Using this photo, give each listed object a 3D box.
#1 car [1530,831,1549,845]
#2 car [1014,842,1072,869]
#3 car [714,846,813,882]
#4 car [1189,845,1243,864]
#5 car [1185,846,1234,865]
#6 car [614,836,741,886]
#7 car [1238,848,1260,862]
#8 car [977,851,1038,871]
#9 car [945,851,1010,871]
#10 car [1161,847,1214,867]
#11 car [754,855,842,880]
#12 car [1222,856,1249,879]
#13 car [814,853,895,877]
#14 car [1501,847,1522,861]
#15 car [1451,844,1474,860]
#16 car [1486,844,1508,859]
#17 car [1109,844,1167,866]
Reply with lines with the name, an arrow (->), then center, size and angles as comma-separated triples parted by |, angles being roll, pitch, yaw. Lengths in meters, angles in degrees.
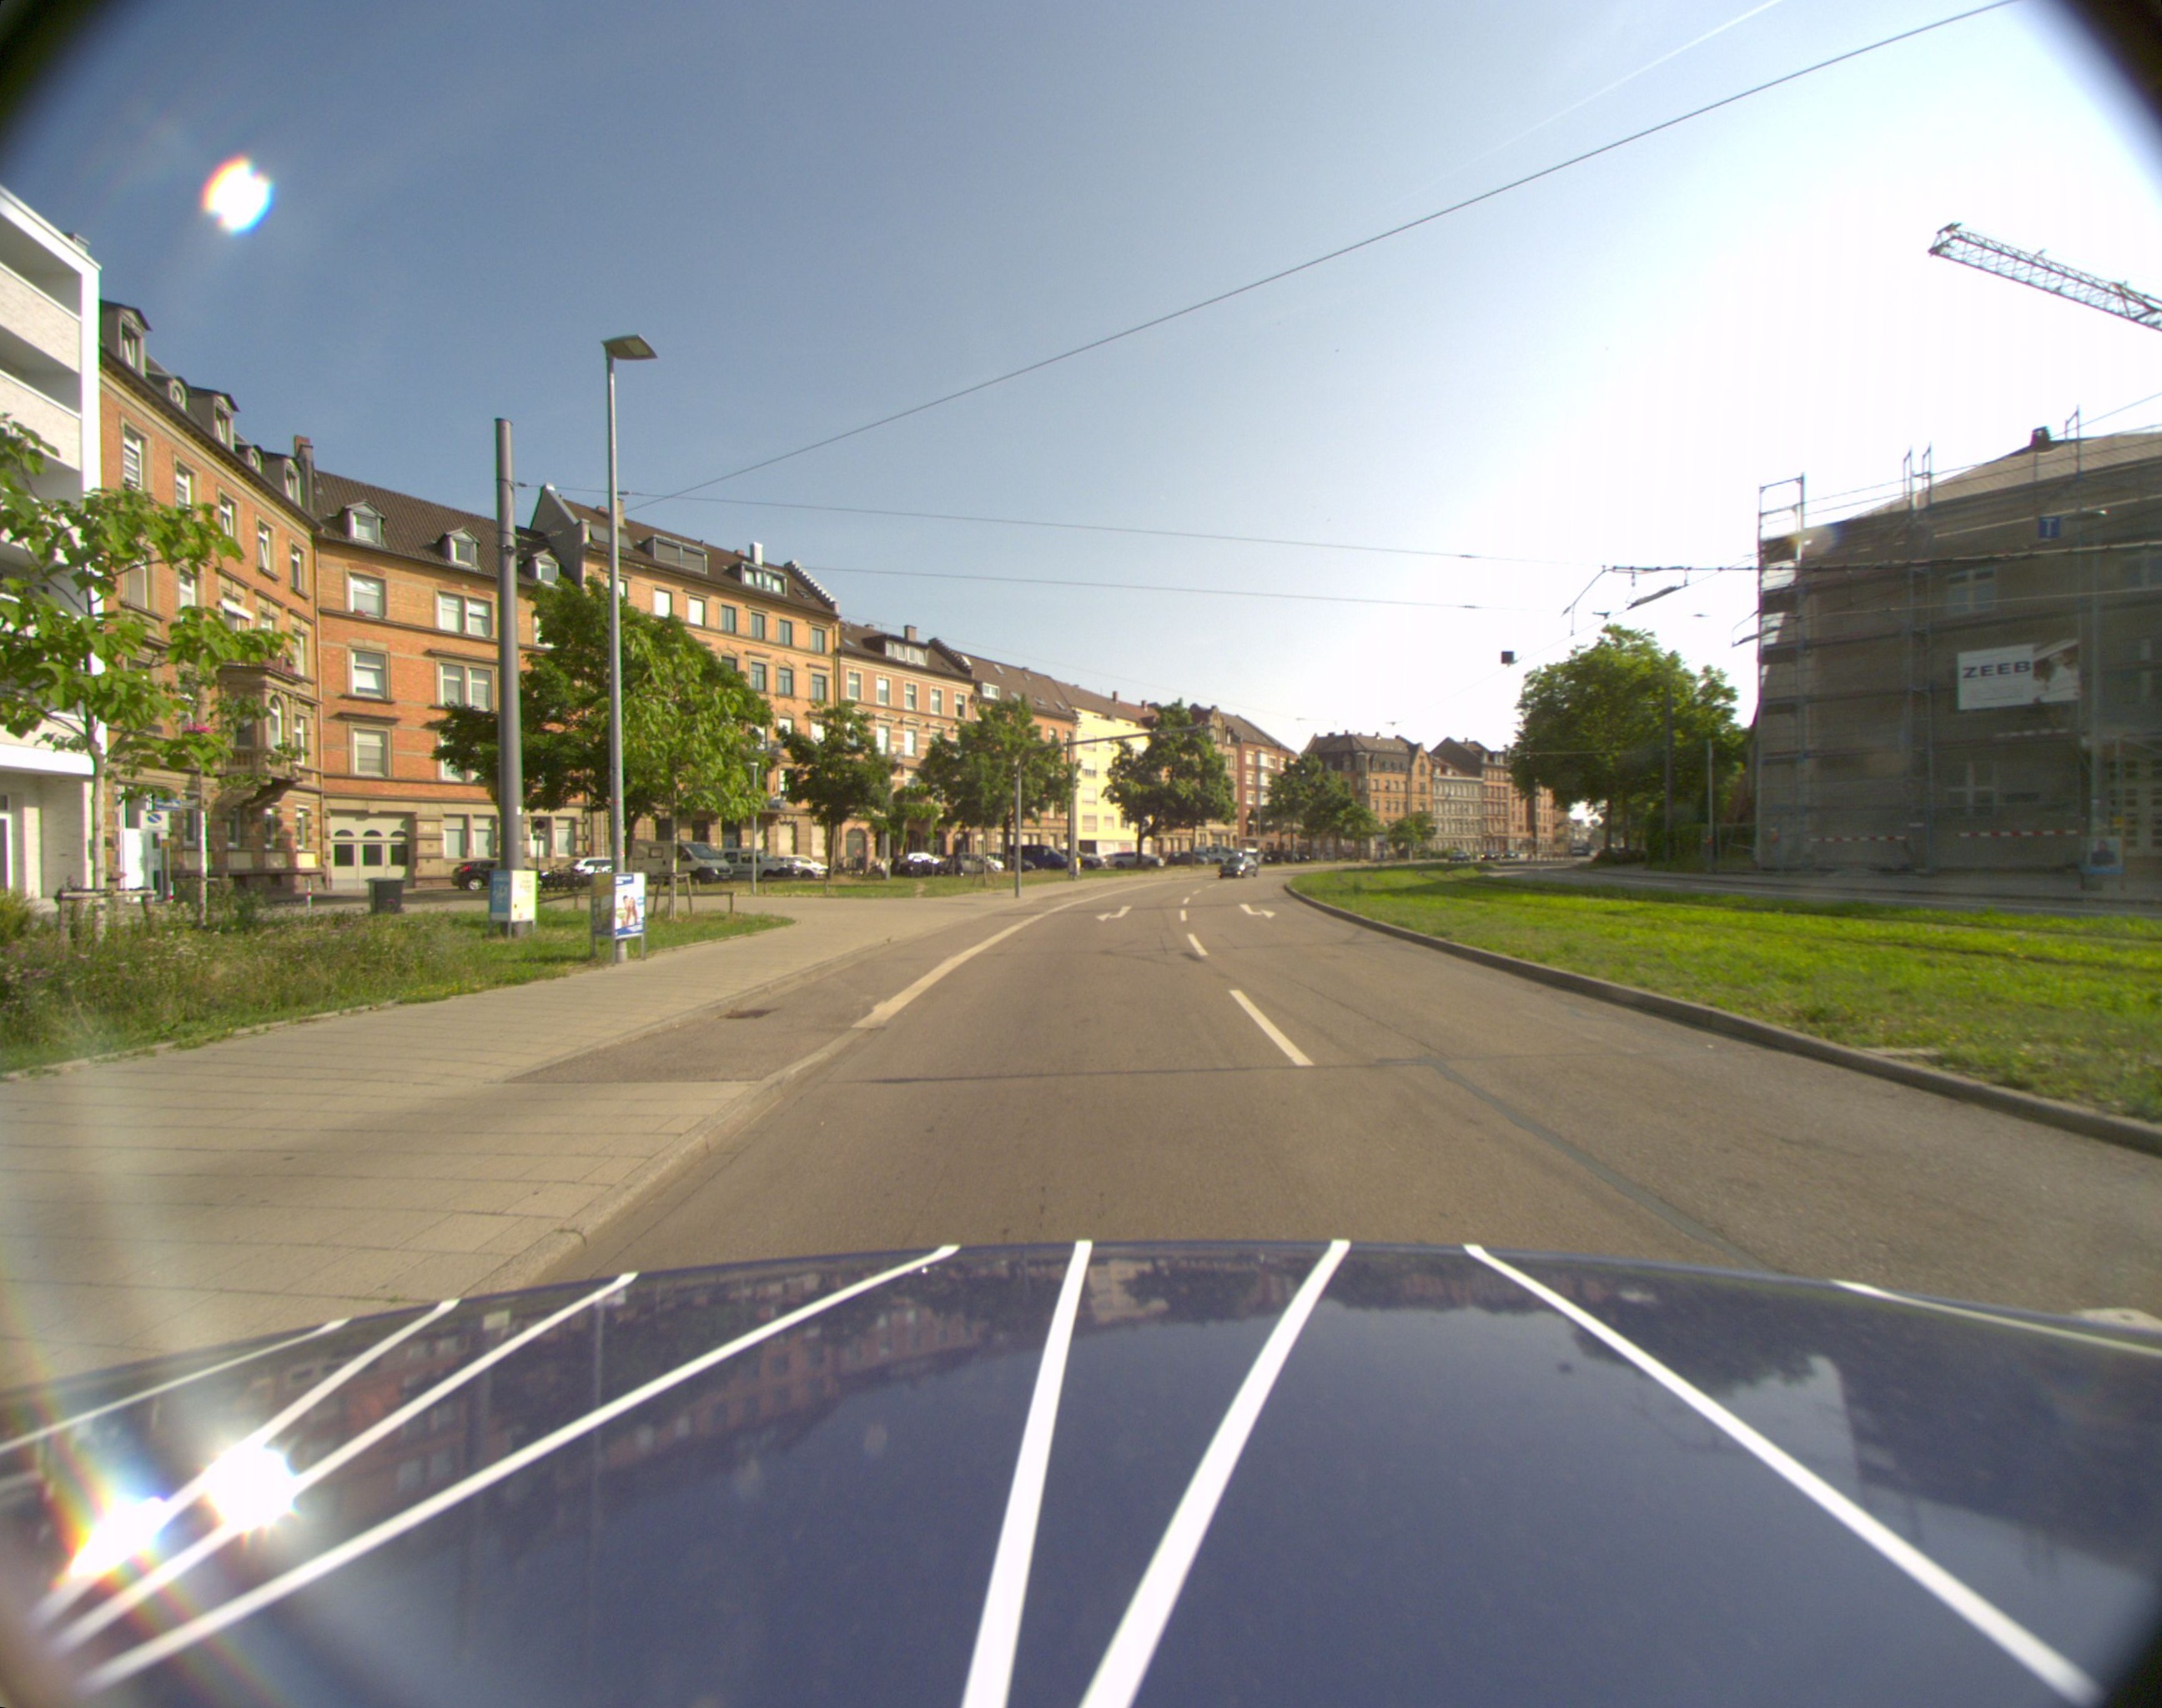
car -> 69.066, -2.453, 114.497 | 1.994, 1.967, 4.007 | -1, 1, 37
car -> -2.645, 0.101, 53.716 | 3.851, 1.795, 1.787 | -1, 0, 7
car -> -15.487, 0.483, 37.169 | 3.980, 1.696, 1.881 | -1, 0, 4
car -> 13.211, 0.031, 74.471 | 4.923, 1.827, 1.721 | 1, 1, -1
car -> 12.104, 0.158, 71.903 | 4.415, 1.755, 1.722 | 1, 1, 4
car -> -18.466, 0.327, 34.842 | 5.038, 2.166, 1.882 | -1, 0, 11
car -> 21.184, 0.089, 95.730 | 2.790, 1.722, 1.326 | -1, 0, -41
car -> -4.908, 0.479, 51.036 | 3.852, 1.242, 1.722 | -1, 0, 4
car -> -6.645, 0.446, 49.140 | 3.852, 1.242, 1.722 | -1, 0, 4
car -> 9.755, 0.276, 69.550 | 4.731, 1.755, 1.723 | 1, 1, 12
car -> -14.595, 0.678, 39.248 | 3.852, 1.242, 1.722 | -1, 0, 4
car -> 10.066, 0.849, 49.506 | 1.642, 1.411, 3.898 | -1, 0, 12
car -> -12.303, 0.581, 41.382 | 3.852, 1.242, 1.722 | -1, 0, 4
car -> 64.472, 0.034, 113.731 | 1.994, 2.002, 4.008 | 0, 1, 39
car -> 49.095, -0.263, 97.762 | 1.994, 2.002, 4.007 | -1, 1, 37
car -> 53.312, -0.350, 97.332 | 1.994, 1.849, 4.008 | -1, 0, 36
car -> 4.806, 0.095, 63.943 | 4.731, 1.755, 1.723 | 1, 1, 12
